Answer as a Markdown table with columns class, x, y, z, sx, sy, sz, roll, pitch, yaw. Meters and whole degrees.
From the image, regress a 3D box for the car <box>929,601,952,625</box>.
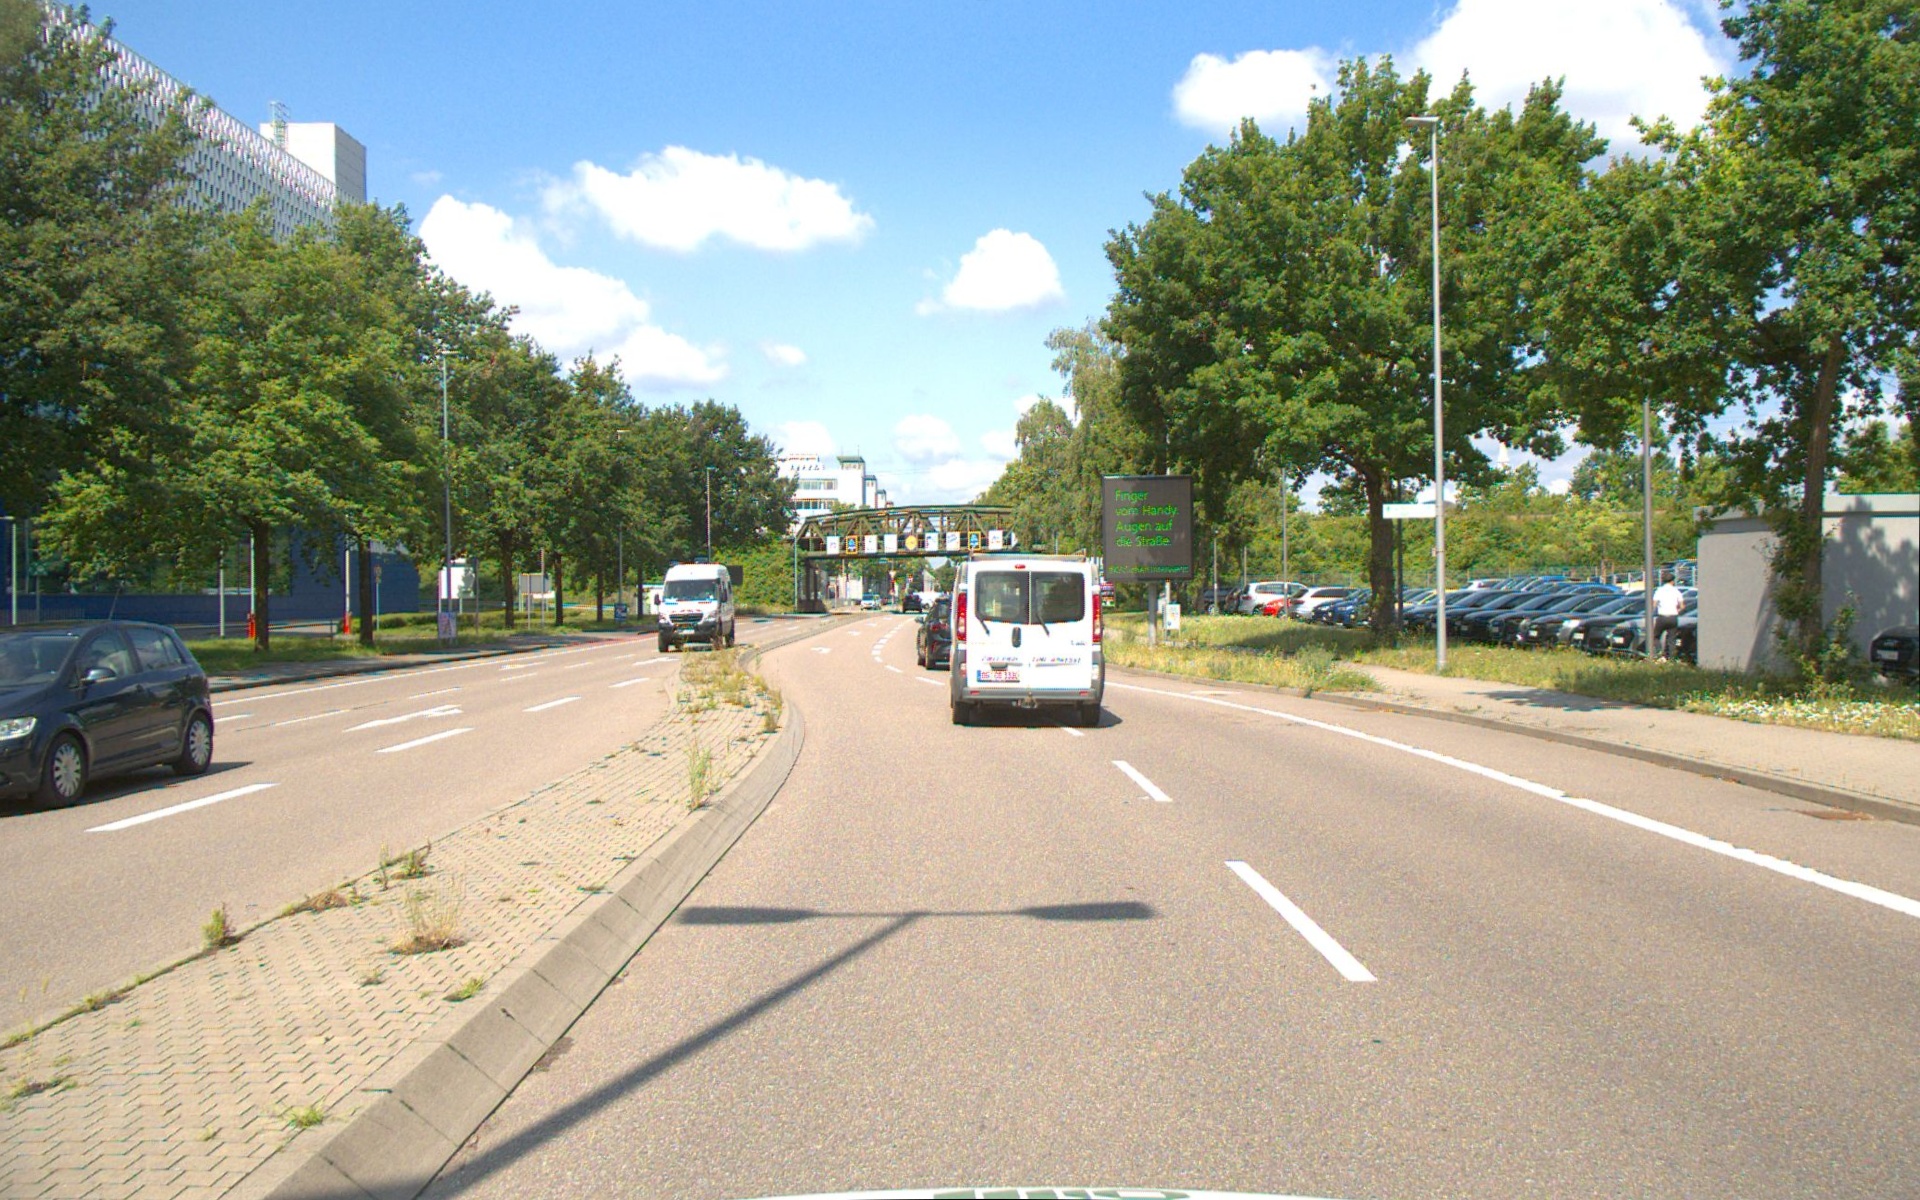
| class | x | y | z | sx | sy | sz | roll | pitch | yaw |
| --- | --- | --- | --- | --- | --- | --- | --- | --- | --- |
| car | -1.697 | 1.102 | 143.419 | 1.953 | 2.049 | 4.000 | -1 | 0 | 0 |

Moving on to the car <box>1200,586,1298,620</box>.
| class | x | y | z | sx | sy | sz | roll | pitch | yaw |
| --- | --- | --- | --- | --- | --- | --- | --- | --- | --- |
| car | 13.745 | 0.140 | 78.848 | 4.267 | 1.539 | 1.935 | 0 | 2 | -2 |

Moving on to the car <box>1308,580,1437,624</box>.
| class | x | y | z | sx | sy | sz | roll | pitch | yaw |
| --- | --- | --- | --- | --- | --- | --- | --- | --- | --- |
| car | 15.184 | 0.049 | 61.039 | 4.267 | 1.539 | 1.935 | 0 | 2 | -2 |

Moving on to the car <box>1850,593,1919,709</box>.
| class | x | y | z | sx | sy | sz | roll | pitch | yaw |
| --- | --- | --- | --- | --- | --- | --- | --- | --- | --- |
| car | 14.918 | 0.651 | 22.831 | 4.265 | 1.539 | 1.855 | -1 | 0 | 0 |

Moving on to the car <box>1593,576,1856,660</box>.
| class | x | y | z | sx | sy | sz | roll | pitch | yaw |
| --- | --- | --- | --- | --- | --- | --- | --- | --- | --- |
| car | 14.937 | 0.331 | 32.471 | 4.267 | 1.539 | 1.935 | 0 | 2 | -2 |

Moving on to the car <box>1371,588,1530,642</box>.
| class | x | y | z | sx | sy | sz | roll | pitch | yaw |
| --- | --- | --- | --- | --- | --- | --- | --- | --- | --- |
| car | 14.904 | 0.447 | 50.411 | 4.267 | 1.539 | 1.935 | 0 | 2 | -2 |

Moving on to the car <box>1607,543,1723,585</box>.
| class | x | y | z | sx | sy | sz | roll | pitch | yaw |
| --- | --- | --- | --- | --- | --- | --- | --- | --- | --- |
| car | 30.955 | -1.603 | 72.729 | 4.264 | 1.805 | 1.937 | 0 | 2 | 3 |

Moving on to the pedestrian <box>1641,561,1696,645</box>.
| class | x | y | z | sx | sy | sz | roll | pitch | yaw |
| --- | --- | --- | --- | --- | --- | --- | --- | --- | --- |
| pedestrian | 12.773 | 0.042 | 29.840 | 0.620 | 1.485 | 0.772 | 0 | 2 | -2 |

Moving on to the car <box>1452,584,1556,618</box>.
| class | x | y | z | sx | sy | sz | roll | pitch | yaw |
| --- | --- | --- | --- | --- | --- | --- | --- | --- | --- |
| car | 25.517 | 0.056 | 77.678 | 4.258 | 1.525 | 1.907 | -1 | 0 | -1 |

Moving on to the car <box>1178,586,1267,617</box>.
| class | x | y | z | sx | sy | sz | roll | pitch | yaw |
| --- | --- | --- | --- | --- | --- | --- | --- | --- | --- |
| car | 13.595 | 0.051 | 85.789 | 4.267 | 1.539 | 1.935 | 0 | 2 | -2 |

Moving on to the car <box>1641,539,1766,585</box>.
| class | x | y | z | sx | sy | sz | roll | pitch | yaw |
| --- | --- | --- | --- | --- | --- | --- | --- | --- | --- |
| car | 30.527 | -1.573 | 67.962 | 4.264 | 1.805 | 1.937 | 0 | 2 | 3 |

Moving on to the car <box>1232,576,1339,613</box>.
| class | x | y | z | sx | sy | sz | roll | pitch | yaw |
| --- | --- | --- | --- | --- | --- | --- | --- | --- | --- |
| car | 14.151 | -0.238 | 72.019 | 4.267 | 1.539 | 1.935 | 0 | 2 | -2 |

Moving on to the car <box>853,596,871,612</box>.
| class | x | y | z | sx | sy | sz | roll | pitch | yaw |
| --- | --- | --- | --- | --- | --- | --- | --- | --- | --- |
| car | -12.866 | 0.513 | 216.575 | 1.952 | 2.049 | 4.001 | -1 | 0 | 2 |

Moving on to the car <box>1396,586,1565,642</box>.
| class | x | y | z | sx | sy | sz | roll | pitch | yaw |
| --- | --- | --- | --- | --- | --- | --- | --- | --- | --- |
| car | 15.067 | 0.386 | 48.026 | 4.267 | 1.539 | 1.935 | 0 | 2 | -2 |

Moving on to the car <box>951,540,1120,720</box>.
| class | x | y | z | sx | sy | sz | roll | pitch | yaw |
| --- | --- | --- | --- | --- | --- | --- | --- | --- | --- |
| car | 0.871 | 0.298 | 21.629 | 1.933 | 2.095 | 4.564 | 0 | 1 | -1 |

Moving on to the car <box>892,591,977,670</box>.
| class | x | y | z | sx | sy | sz | roll | pitch | yaw |
| --- | --- | --- | --- | --- | --- | --- | --- | --- | --- |
| car | -0.643 | 0.659 | 38.485 | 1.739 | 1.657 | 3.997 | 0 | 1 | -4 |

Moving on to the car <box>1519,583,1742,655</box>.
| class | x | y | z | sx | sy | sz | roll | pitch | yaw |
| --- | --- | --- | --- | --- | --- | --- | --- | --- | --- |
| car | 15.085 | 0.410 | 37.364 | 4.267 | 1.539 | 1.935 | 0 | 2 | -2 |

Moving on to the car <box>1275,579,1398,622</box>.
| class | x | y | z | sx | sy | sz | roll | pitch | yaw |
| --- | --- | --- | --- | --- | --- | --- | --- | --- | --- |
| car | 14.458 | 0.008 | 63.619 | 4.267 | 1.539 | 1.935 | 0 | 2 | -2 |

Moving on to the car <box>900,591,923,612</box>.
| class | x | y | z | sx | sy | sz | roll | pitch | yaw |
| --- | --- | --- | --- | --- | --- | --- | --- | --- | --- |
| car | -4.509 | 0.118 | 154.807 | 1.952 | 1.802 | 4.001 | 0 | 2 | 1 |

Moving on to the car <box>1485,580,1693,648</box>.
| class | x | y | z | sx | sy | sz | roll | pitch | yaw |
| --- | --- | --- | --- | --- | --- | --- | --- | --- | --- |
| car | 15.104 | 0.325 | 39.858 | 4.267 | 1.539 | 1.935 | 0 | 2 | -2 |

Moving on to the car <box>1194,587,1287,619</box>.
| class | x | y | z | sx | sy | sz | roll | pitch | yaw |
| --- | --- | --- | --- | --- | --- | --- | --- | --- | --- |
| car | 14.010 | 0.129 | 82.678 | 4.267 | 1.539 | 1.935 | 0 | 2 | -2 |

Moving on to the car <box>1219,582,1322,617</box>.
| class | x | y | z | sx | sy | sz | roll | pitch | yaw |
| --- | --- | --- | --- | --- | --- | --- | --- | --- | --- |
| car | 13.988 | -0.031 | 74.600 | 4.267 | 1.539 | 1.935 | 0 | 2 | -2 |

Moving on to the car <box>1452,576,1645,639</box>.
| class | x | y | z | sx | sy | sz | roll | pitch | yaw |
| --- | --- | --- | --- | --- | --- | --- | --- | --- | --- |
| car | 15.106 | 0.170 | 42.622 | 4.267 | 1.539 | 1.935 | 0 | 2 | -2 |

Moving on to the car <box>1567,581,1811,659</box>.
| class | x | y | z | sx | sy | sz | roll | pitch | yaw |
| --- | --- | --- | --- | --- | --- | --- | --- | --- | --- |
| car | 15.223 | 0.396 | 34.679 | 4.267 | 1.539 | 1.935 | 0 | 2 | -2 |

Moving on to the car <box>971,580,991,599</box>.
| class | x | y | z | sx | sy | sz | roll | pitch | yaw |
| --- | --- | --- | --- | --- | --- | --- | --- | --- | --- |
| car | 2.834 | -1.434 | 223.393 | 2.328 | 2.518 | 4.764 | -1 | 0 | 5 |

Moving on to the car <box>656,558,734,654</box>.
| class | x | y | z | sx | sy | sz | roll | pitch | yaw |
| --- | --- | --- | --- | --- | --- | --- | --- | --- | --- |
| car | -8.633 | 0.185 | 54.418 | 1.983 | 2.944 | 6.376 | -1 | 0 | -4 |

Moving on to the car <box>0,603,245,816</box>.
| class | x | y | z | sx | sy | sz | roll | pitch | yaw |
| --- | --- | --- | --- | --- | --- | --- | --- | --- | --- |
| car | -8.273 | 0.922 | 15.102 | 1.703 | 1.637 | 4.239 | -4 | 0 | -3 |

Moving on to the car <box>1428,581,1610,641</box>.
| class | x | y | z | sx | sy | sz | roll | pitch | yaw |
| --- | --- | --- | --- | --- | --- | --- | --- | --- | --- |
| car | 15.080 | 0.283 | 44.770 | 4.267 | 1.539 | 1.935 | 0 | 2 | -2 |

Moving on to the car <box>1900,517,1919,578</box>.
| class | x | y | z | sx | sy | sz | roll | pitch | yaw |
| --- | --- | --- | --- | --- | --- | --- | --- | --- | --- |
| car | 30.877 | -1.566 | 49.558 | 4.264 | 1.805 | 1.937 | 0 | 2 | 3 |

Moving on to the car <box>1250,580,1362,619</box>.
| class | x | y | z | sx | sy | sz | roll | pitch | yaw |
| --- | --- | --- | --- | --- | --- | --- | --- | --- | --- |
| car | 14.516 | -0.039 | 69.537 | 4.267 | 1.539 | 1.935 | 0 | 2 | -2 |

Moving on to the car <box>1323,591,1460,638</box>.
| class | x | y | z | sx | sy | sz | roll | pitch | yaw |
| --- | --- | --- | --- | --- | --- | --- | --- | --- | --- |
| car | 15.069 | 0.500 | 57.939 | 4.267 | 1.539 | 1.935 | 0 | 2 | -2 |

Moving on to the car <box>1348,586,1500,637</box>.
| class | x | y | z | sx | sy | sz | roll | pitch | yaw |
| --- | --- | --- | --- | --- | --- | --- | --- | --- | --- |
| car | 14.729 | 0.349 | 52.656 | 4.267 | 1.539 | 1.935 | 0 | 2 | -2 |
